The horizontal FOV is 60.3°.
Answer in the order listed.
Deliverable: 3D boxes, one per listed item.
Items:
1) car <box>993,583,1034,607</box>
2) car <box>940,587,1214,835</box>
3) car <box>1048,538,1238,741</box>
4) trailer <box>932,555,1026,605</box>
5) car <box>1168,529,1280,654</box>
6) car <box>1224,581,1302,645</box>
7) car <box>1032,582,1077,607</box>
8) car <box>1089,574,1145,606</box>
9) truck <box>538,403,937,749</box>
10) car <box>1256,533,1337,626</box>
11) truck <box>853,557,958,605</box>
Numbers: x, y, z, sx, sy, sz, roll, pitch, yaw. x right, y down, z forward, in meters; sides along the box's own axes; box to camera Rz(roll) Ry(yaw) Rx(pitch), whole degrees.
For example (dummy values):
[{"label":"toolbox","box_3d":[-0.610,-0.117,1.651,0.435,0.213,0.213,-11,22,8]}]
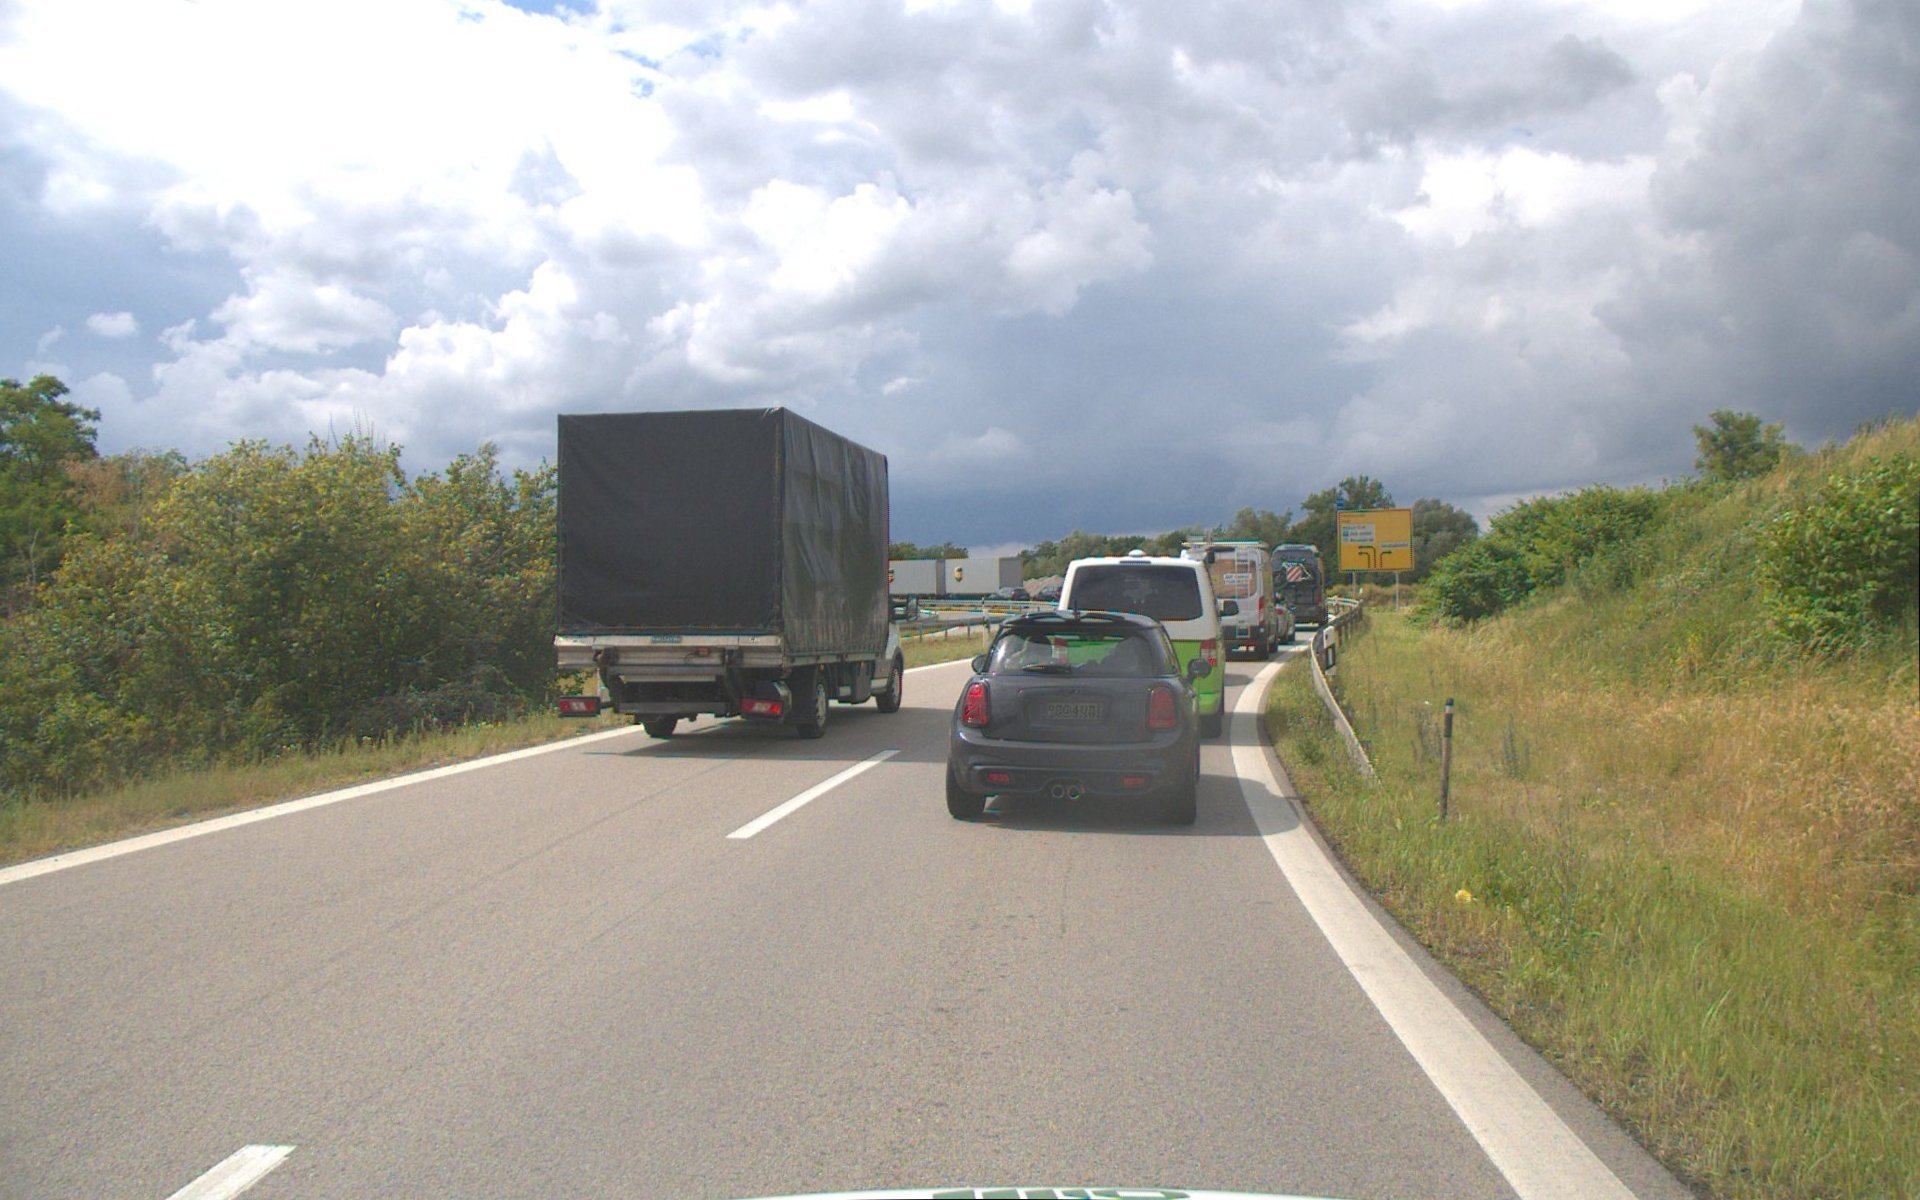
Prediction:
[{"label":"car","box_3d":[4.188,-0.400,129.634,1.787,1.786,3.973,1,-1,-22]},{"label":"car","box_3d":[1.008,0.704,12.518,1.761,1.573,3.741,0,0,8]},{"label":"car","box_3d":[2.231,0.413,19.209,1.870,2.081,4.184,0,0,11]},{"label":"trailer","box_3d":[1.524,-1.646,137.704,3.015,3.966,8.652,2,-1,-38]},{"label":"car","box_3d":[6.214,-0.165,38.400,2.164,2.668,5.538,1,-1,13]},{"label":"car","box_3d":[8.523,0.368,46.322,1.951,1.671,3.931,1,-1,13]},{"label":"car","box_3d":[7.484,-0.424,131.397,1.894,1.870,4.288,1,-1,-22]},{"label":"car","box_3d":[11.665,-0.714,123.189,2.256,2.300,5.077,1,-1,-20]},{"label":"truck","box_3d":[-2.169,-0.197,19.289,2.505,3.223,7.474,1,-1,9]},{"label":"car","box_3d":[12.016,-0.651,58.733,2.262,3.122,6.666,1,-1,16]},{"label":"truck","box_3d":[-4.827,-1.619,144.226,9.844,4.046,2.830,0,-1,40]}]
